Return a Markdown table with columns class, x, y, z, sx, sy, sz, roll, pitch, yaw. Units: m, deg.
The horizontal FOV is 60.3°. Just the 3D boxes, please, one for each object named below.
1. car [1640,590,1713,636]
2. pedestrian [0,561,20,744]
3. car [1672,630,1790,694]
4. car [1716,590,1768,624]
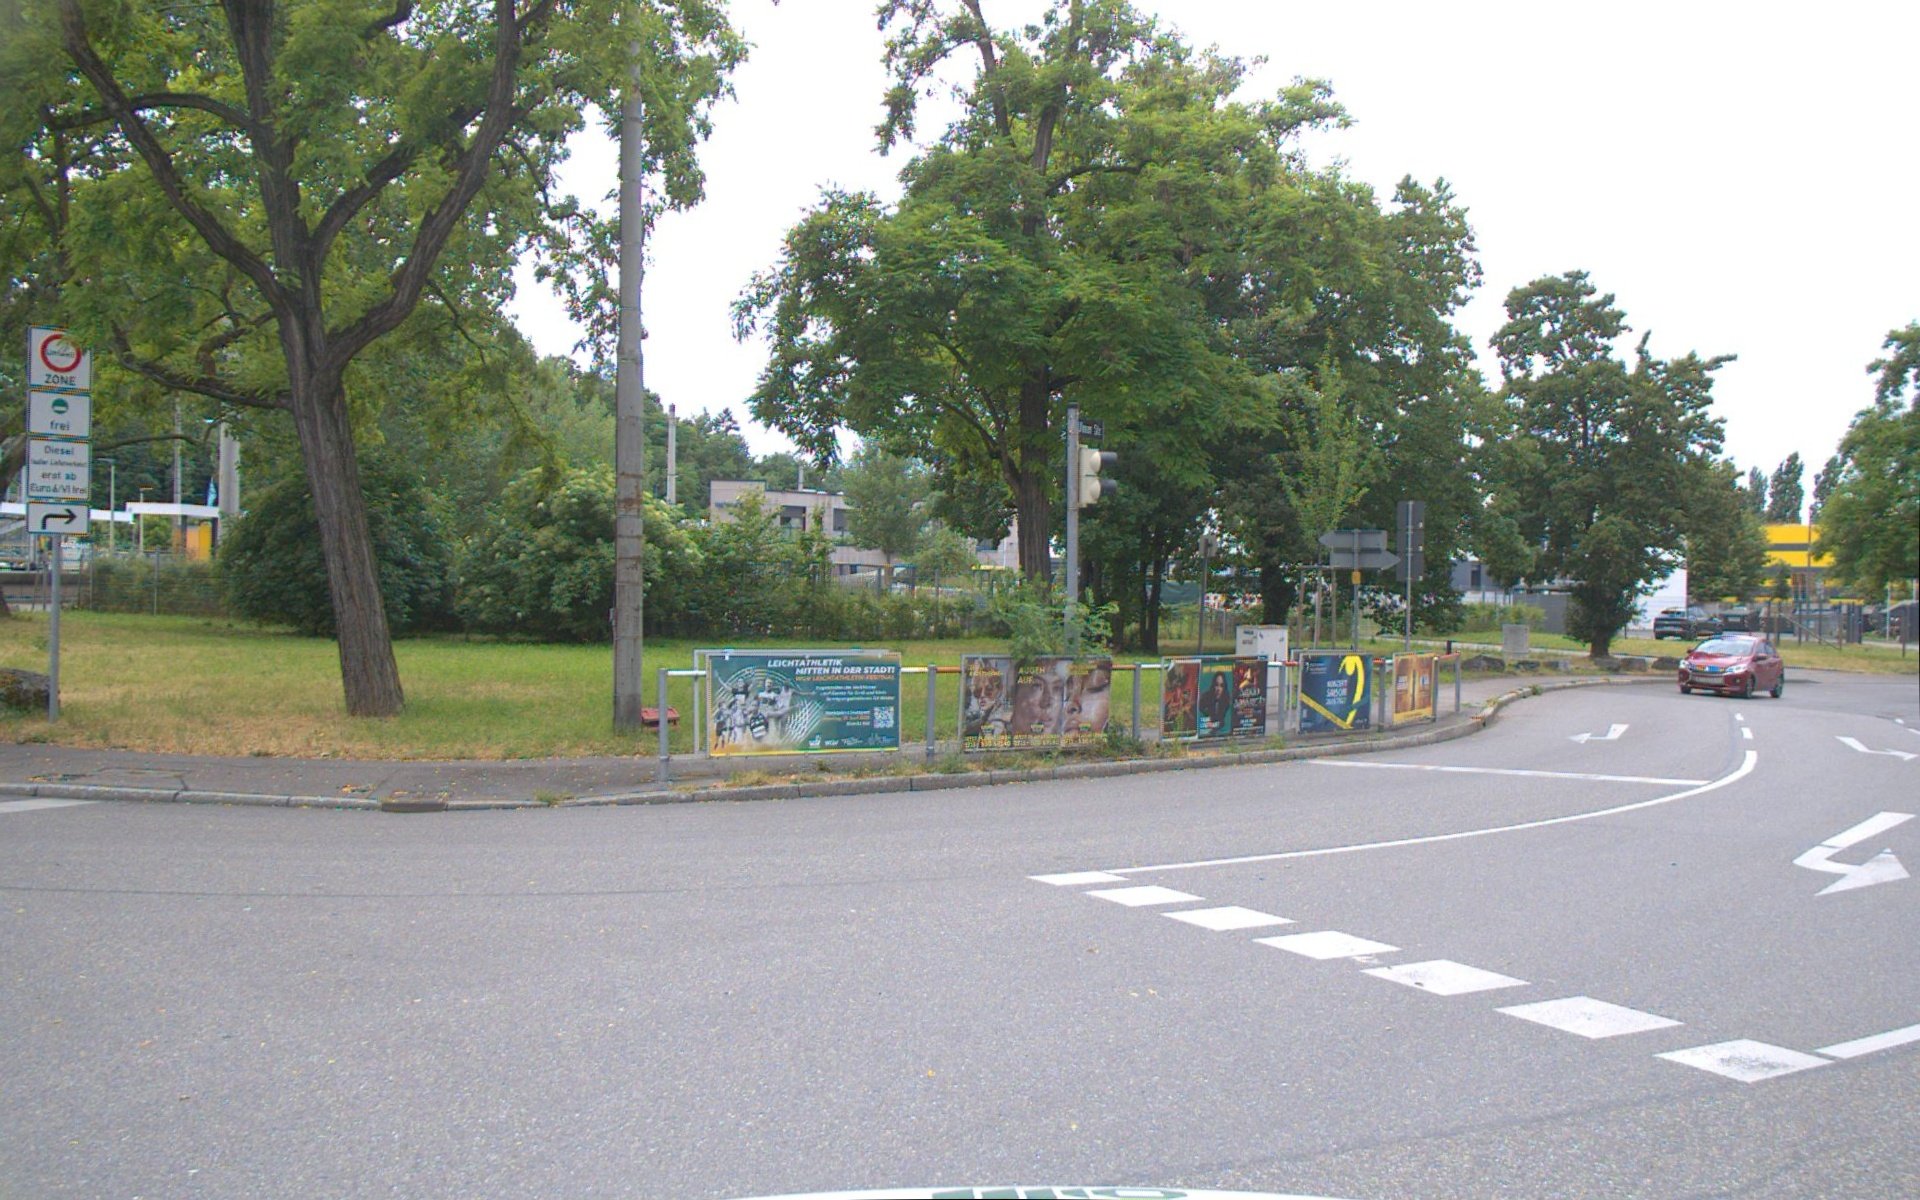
| class | x | y | z | sx | sy | sz | roll | pitch | yaw |
| --- | --- | --- | --- | --- | --- | --- | --- | --- | --- |
| car | 33.571 | 0.594 | 77.459 | 1.934 | 2.048 | 4.196 | 3 | 1 | 40 |
| pedestrian | -9.680 | 0.509 | 15.971 | 0.769 | 1.770 | 0.696 | 1 | 1 | 8 |
| car | 19.274 | 1.504 | 41.263 | 1.702 | 1.491 | 3.812 | 0 | -1 | 41 |
| car | 49.295 | 0.457 | 104.216 | 1.934 | 2.048 | 4.196 | 3 | 1 | 40 |
